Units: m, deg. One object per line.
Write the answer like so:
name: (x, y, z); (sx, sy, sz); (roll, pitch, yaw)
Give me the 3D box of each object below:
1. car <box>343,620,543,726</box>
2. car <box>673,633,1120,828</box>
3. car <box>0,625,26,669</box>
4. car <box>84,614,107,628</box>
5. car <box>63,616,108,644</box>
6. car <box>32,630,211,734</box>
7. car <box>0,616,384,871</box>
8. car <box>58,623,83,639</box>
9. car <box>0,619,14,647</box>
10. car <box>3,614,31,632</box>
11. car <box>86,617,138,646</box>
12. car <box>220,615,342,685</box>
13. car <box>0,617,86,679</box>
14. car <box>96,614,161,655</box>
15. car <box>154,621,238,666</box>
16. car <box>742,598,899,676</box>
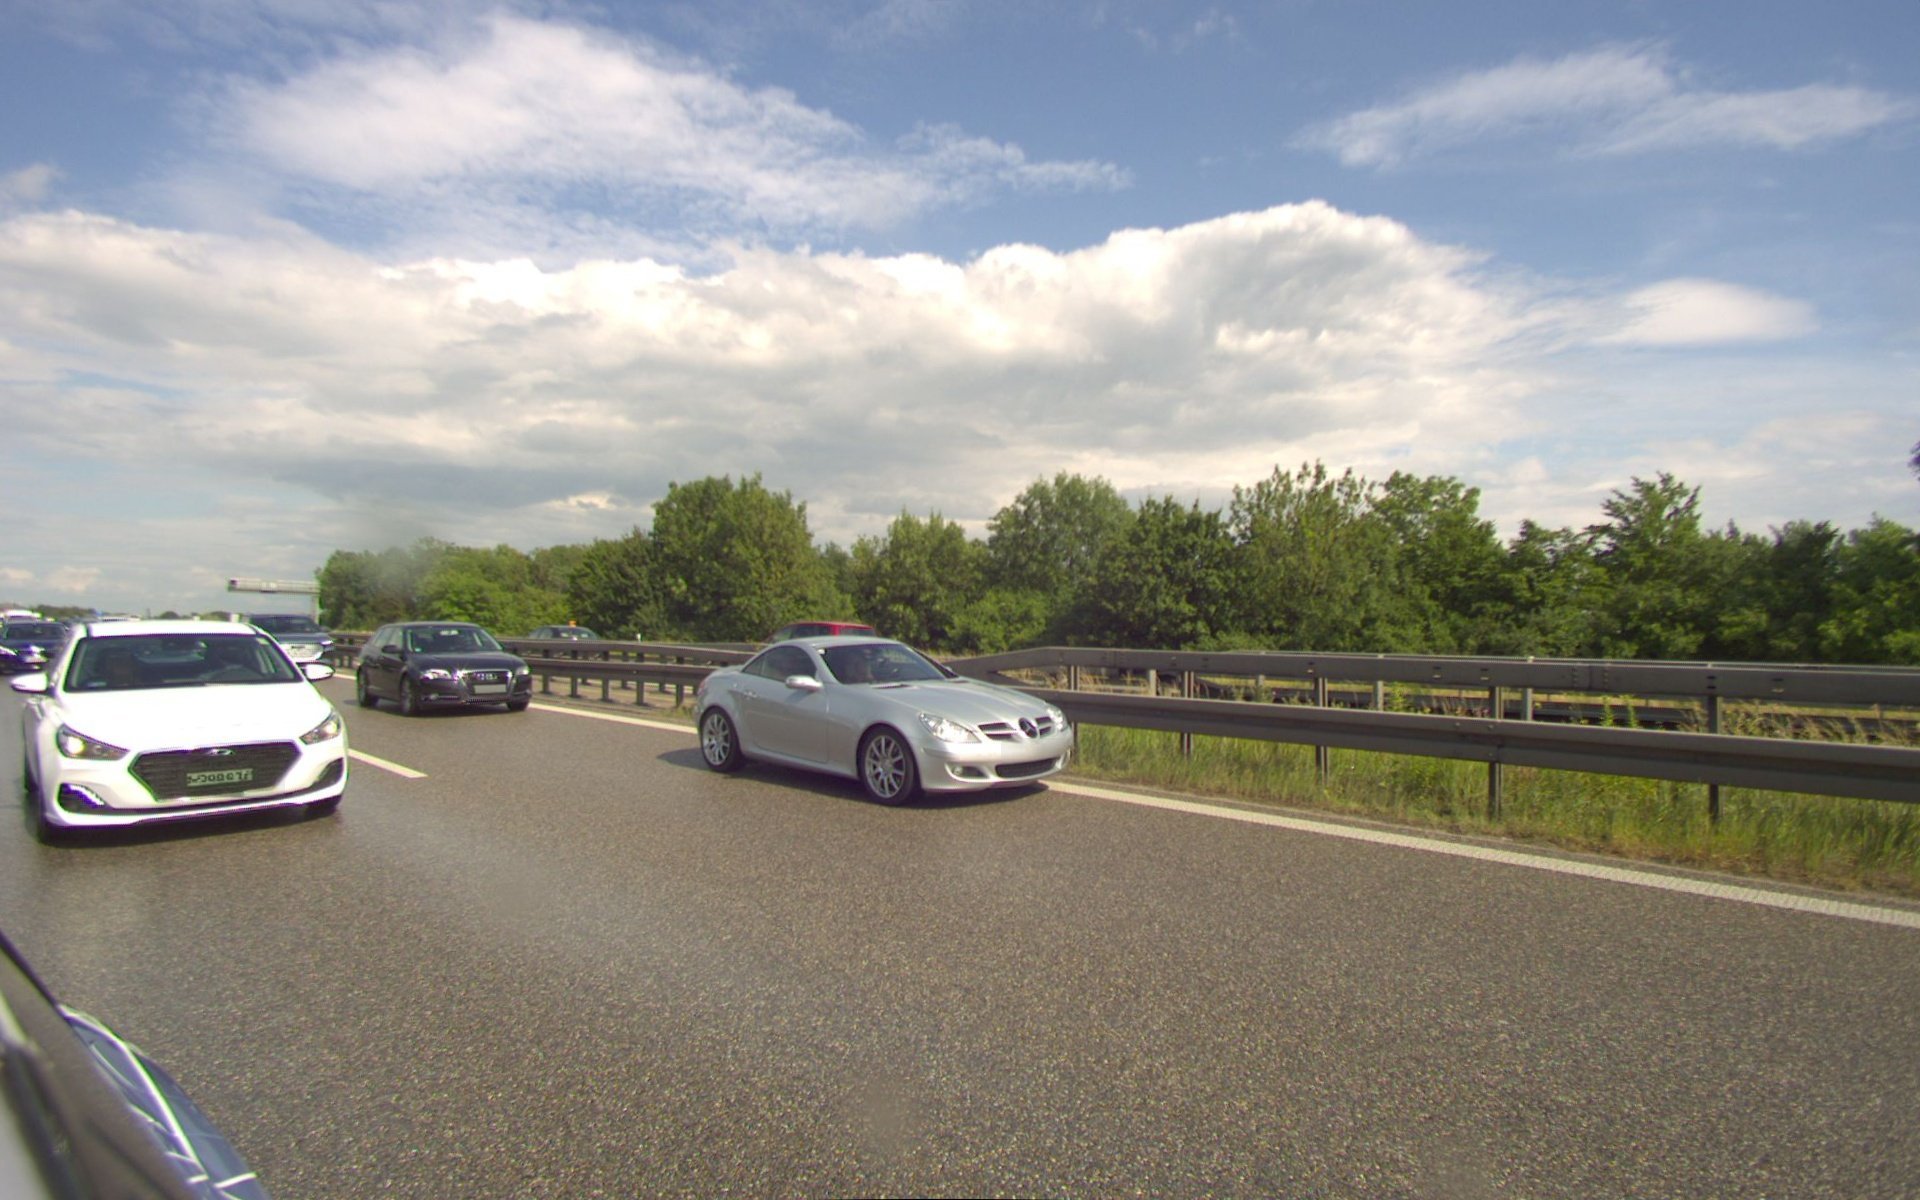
car: (-8.380, 1.065, 16.236); (1.746, 1.436, 4.142); (0, -1, -44)
car: (-0.749, 0.956, 8.975); (4.065, 1.288, 1.705); (-1, -2, 45)
car: (-36.691, 1.772, 38.162); (4.002, 1.490, 1.971); (0, 1, 45)
car: (-115.356, 2.778, 135.052); (1.970, 1.792, 4.464); (1, -1, -45)
car: (-58.613, 1.956, 67.807); (4.002, 1.710, 1.971); (0, 1, 45)
car: (-12.906, 1.143, 15.489); (4.289, 1.348, 1.705); (-1, -2, 45)
car: (-6.346, 0.874, 8.117); (4.550, 1.466, 1.860); (-1, -2, 45)
car: (-105.056, 3.661, 119.541); (4.002, 1.710, 1.971); (0, 1, 45)
car: (-55.954, 1.897, 58.313); (4.002, 1.490, 1.971); (0, 1, 45)
car: (-97.084, 2.379, 104.189); (4.002, 1.710, 1.971); (0, 1, 45)
car: (-49.267, 1.796, 58.784); (4.002, 1.490, 1.971); (0, 1, 45)
car: (-17.258, 1.192, 25.636); (1.848, 1.618, 4.232); (1, -1, -44)
car: (-25.290, 1.253, 27.545); (4.002, 1.497, 1.971); (0, 1, 45)
car: (-39.501, 1.613, 48.062); (4.002, 1.762, 1.971); (0, 1, 45)
car: (-26.624, 1.473, 35.224); (4.002, 1.389, 1.747); (0, -1, 45)
car: (-4.029, 1.013, 28.659); (4.655, 2.029, 1.971); (-1, -1, 44)
